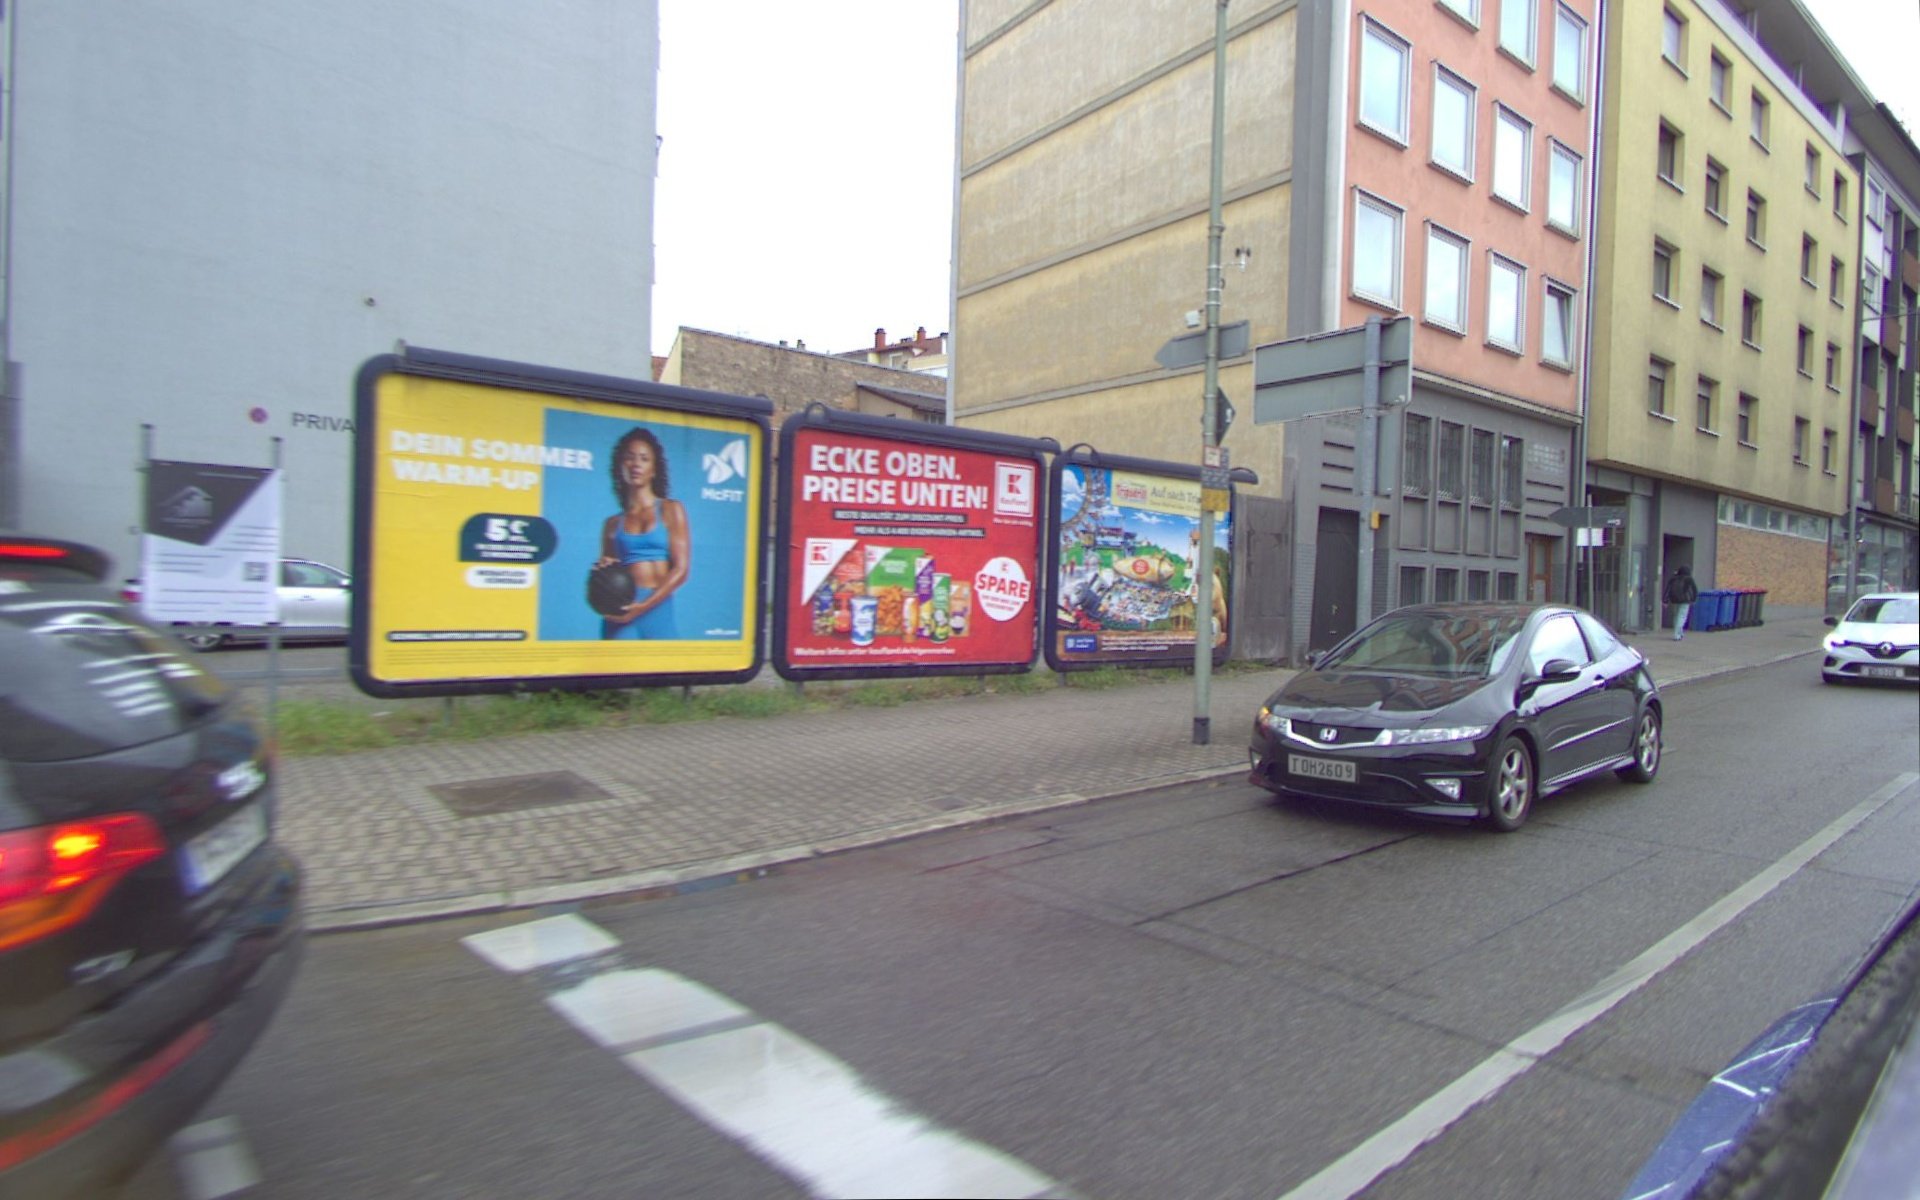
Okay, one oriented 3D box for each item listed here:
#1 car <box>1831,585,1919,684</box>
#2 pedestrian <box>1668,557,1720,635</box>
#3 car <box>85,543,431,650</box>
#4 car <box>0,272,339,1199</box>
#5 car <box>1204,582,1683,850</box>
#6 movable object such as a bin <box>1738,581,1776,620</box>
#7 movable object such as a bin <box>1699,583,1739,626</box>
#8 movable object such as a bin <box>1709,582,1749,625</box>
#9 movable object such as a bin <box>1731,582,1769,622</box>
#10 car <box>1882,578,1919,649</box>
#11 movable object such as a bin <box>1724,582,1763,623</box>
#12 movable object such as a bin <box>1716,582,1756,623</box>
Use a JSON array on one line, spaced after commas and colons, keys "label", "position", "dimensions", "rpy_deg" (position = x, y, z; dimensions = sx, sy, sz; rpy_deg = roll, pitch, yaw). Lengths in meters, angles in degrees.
[{"label": "car", "position": [15.595, 0.487, 16.379], "dimensions": [3.930, 1.421, 1.680], "rpy_deg": [-2, 1, -40]}, {"label": "pedestrian", "position": [17.403, -0.106, 23.991], "dimensions": [1.074, 1.810, 0.675], "rpy_deg": [0, 1, -36]}, {"label": "car", "position": [-10.869, -0.078, 15.869], "dimensions": [4.254, 1.458, 1.879], "rpy_deg": [0, 2, -40]}, {"label": "car", "position": [-3.878, 0.477, 1.449], "dimensions": [4.796, 1.893, 2.031], "rpy_deg": [1, -1, -22]}, {"label": "car", "position": [3.814, 0.651, 7.707], "dimensions": [3.984, 1.516, 1.787], "rpy_deg": [0, 0, -39]}, {"label": "movable object such as a bin", "position": [22.587, 0.004, 28.682], "dimensions": [0.656, 1.090, 0.682], "rpy_deg": [-1, 2, -39]}, {"label": "movable object such as a bin", "position": [19.878, 0.104, 26.499], "dimensions": [0.656, 1.090, 0.682], "rpy_deg": [-1, 2, -39]}, {"label": "movable object such as a bin", "position": [20.496, 0.082, 26.986], "dimensions": [0.656, 1.090, 0.682], "rpy_deg": [-1, 2, -39]}, {"label": "movable object such as a bin", "position": [22.066, 0.038, 28.254], "dimensions": [0.656, 1.090, 0.682], "rpy_deg": [-1, 2, -39]}, {"label": "car", "position": [22.114, 0.257, 22.092], "dimensions": [5.198, 1.404, 2.041], "rpy_deg": [-2, 4, -38]}, {"label": "movable object such as a bin", "position": [21.547, 0.061, 27.841], "dimensions": [0.656, 1.090, 0.682], "rpy_deg": [-1, 2, -39]}, {"label": "movable object such as a bin", "position": [21.017, 0.063, 27.412], "dimensions": [0.656, 1.090, 0.682], "rpy_deg": [-1, 2, -39]}]
